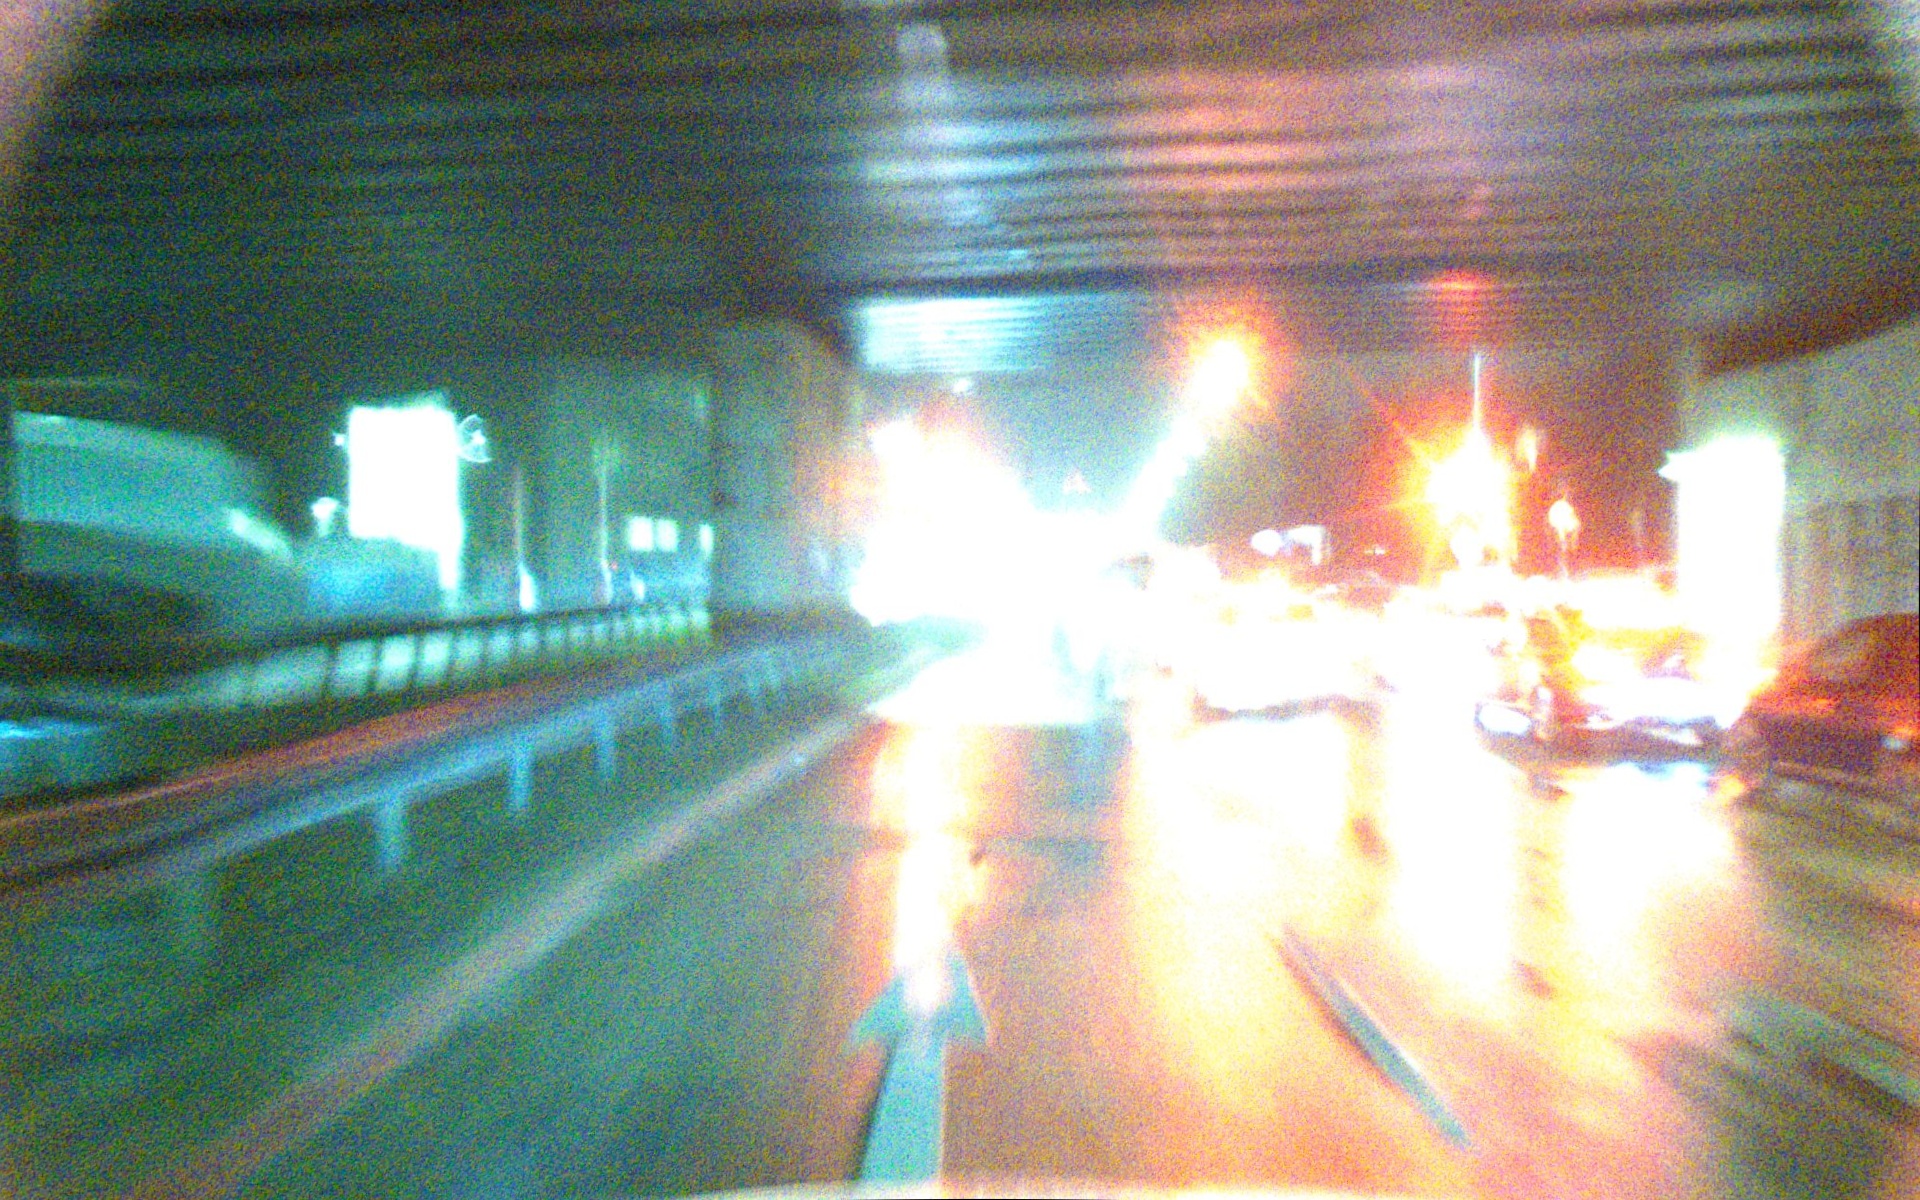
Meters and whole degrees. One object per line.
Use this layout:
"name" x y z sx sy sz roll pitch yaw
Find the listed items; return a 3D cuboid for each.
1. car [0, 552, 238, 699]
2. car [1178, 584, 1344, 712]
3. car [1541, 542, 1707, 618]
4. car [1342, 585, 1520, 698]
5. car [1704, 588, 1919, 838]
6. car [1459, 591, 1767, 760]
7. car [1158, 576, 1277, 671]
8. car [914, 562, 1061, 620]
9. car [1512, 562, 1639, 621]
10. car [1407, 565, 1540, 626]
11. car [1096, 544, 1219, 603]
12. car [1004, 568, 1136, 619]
"car" -10.454 0.252 19.890 1.563 1.563 4.312 1 0 1
"car" 3.763 0.535 21.285 1.684 1.472 4.165 0 1 5
"car" 18.382 -0.555 45.957 3.902 2.049 2.002 1 0 9
"car" 6.743 0.531 24.089 1.684 1.472 4.165 -1 0 5
"car" 6.783 0.693 11.165 1.684 1.513 4.163 -1 0 1
"car" 6.631 0.672 17.376 1.684 1.513 4.790 0 0 5
"car" 4.353 0.360 28.482 1.684 1.472 4.385 -1 0 5
"car" 0.858 -0.306 53.687 4.753 1.800 1.826 1 0 42
"car" 22.382 -0.316 60.307 4.202 2.049 2.046 1 0 18
"car" 17.764 -0.169 57.388 4.201 2.049 2.047 1 0 12
"car" 7.832 -1.046 65.965 2.414 2.232 5.030 0 0 -29
"car" 3.742 -0.242 56.547 4.302 1.651 1.827 1 0 41
